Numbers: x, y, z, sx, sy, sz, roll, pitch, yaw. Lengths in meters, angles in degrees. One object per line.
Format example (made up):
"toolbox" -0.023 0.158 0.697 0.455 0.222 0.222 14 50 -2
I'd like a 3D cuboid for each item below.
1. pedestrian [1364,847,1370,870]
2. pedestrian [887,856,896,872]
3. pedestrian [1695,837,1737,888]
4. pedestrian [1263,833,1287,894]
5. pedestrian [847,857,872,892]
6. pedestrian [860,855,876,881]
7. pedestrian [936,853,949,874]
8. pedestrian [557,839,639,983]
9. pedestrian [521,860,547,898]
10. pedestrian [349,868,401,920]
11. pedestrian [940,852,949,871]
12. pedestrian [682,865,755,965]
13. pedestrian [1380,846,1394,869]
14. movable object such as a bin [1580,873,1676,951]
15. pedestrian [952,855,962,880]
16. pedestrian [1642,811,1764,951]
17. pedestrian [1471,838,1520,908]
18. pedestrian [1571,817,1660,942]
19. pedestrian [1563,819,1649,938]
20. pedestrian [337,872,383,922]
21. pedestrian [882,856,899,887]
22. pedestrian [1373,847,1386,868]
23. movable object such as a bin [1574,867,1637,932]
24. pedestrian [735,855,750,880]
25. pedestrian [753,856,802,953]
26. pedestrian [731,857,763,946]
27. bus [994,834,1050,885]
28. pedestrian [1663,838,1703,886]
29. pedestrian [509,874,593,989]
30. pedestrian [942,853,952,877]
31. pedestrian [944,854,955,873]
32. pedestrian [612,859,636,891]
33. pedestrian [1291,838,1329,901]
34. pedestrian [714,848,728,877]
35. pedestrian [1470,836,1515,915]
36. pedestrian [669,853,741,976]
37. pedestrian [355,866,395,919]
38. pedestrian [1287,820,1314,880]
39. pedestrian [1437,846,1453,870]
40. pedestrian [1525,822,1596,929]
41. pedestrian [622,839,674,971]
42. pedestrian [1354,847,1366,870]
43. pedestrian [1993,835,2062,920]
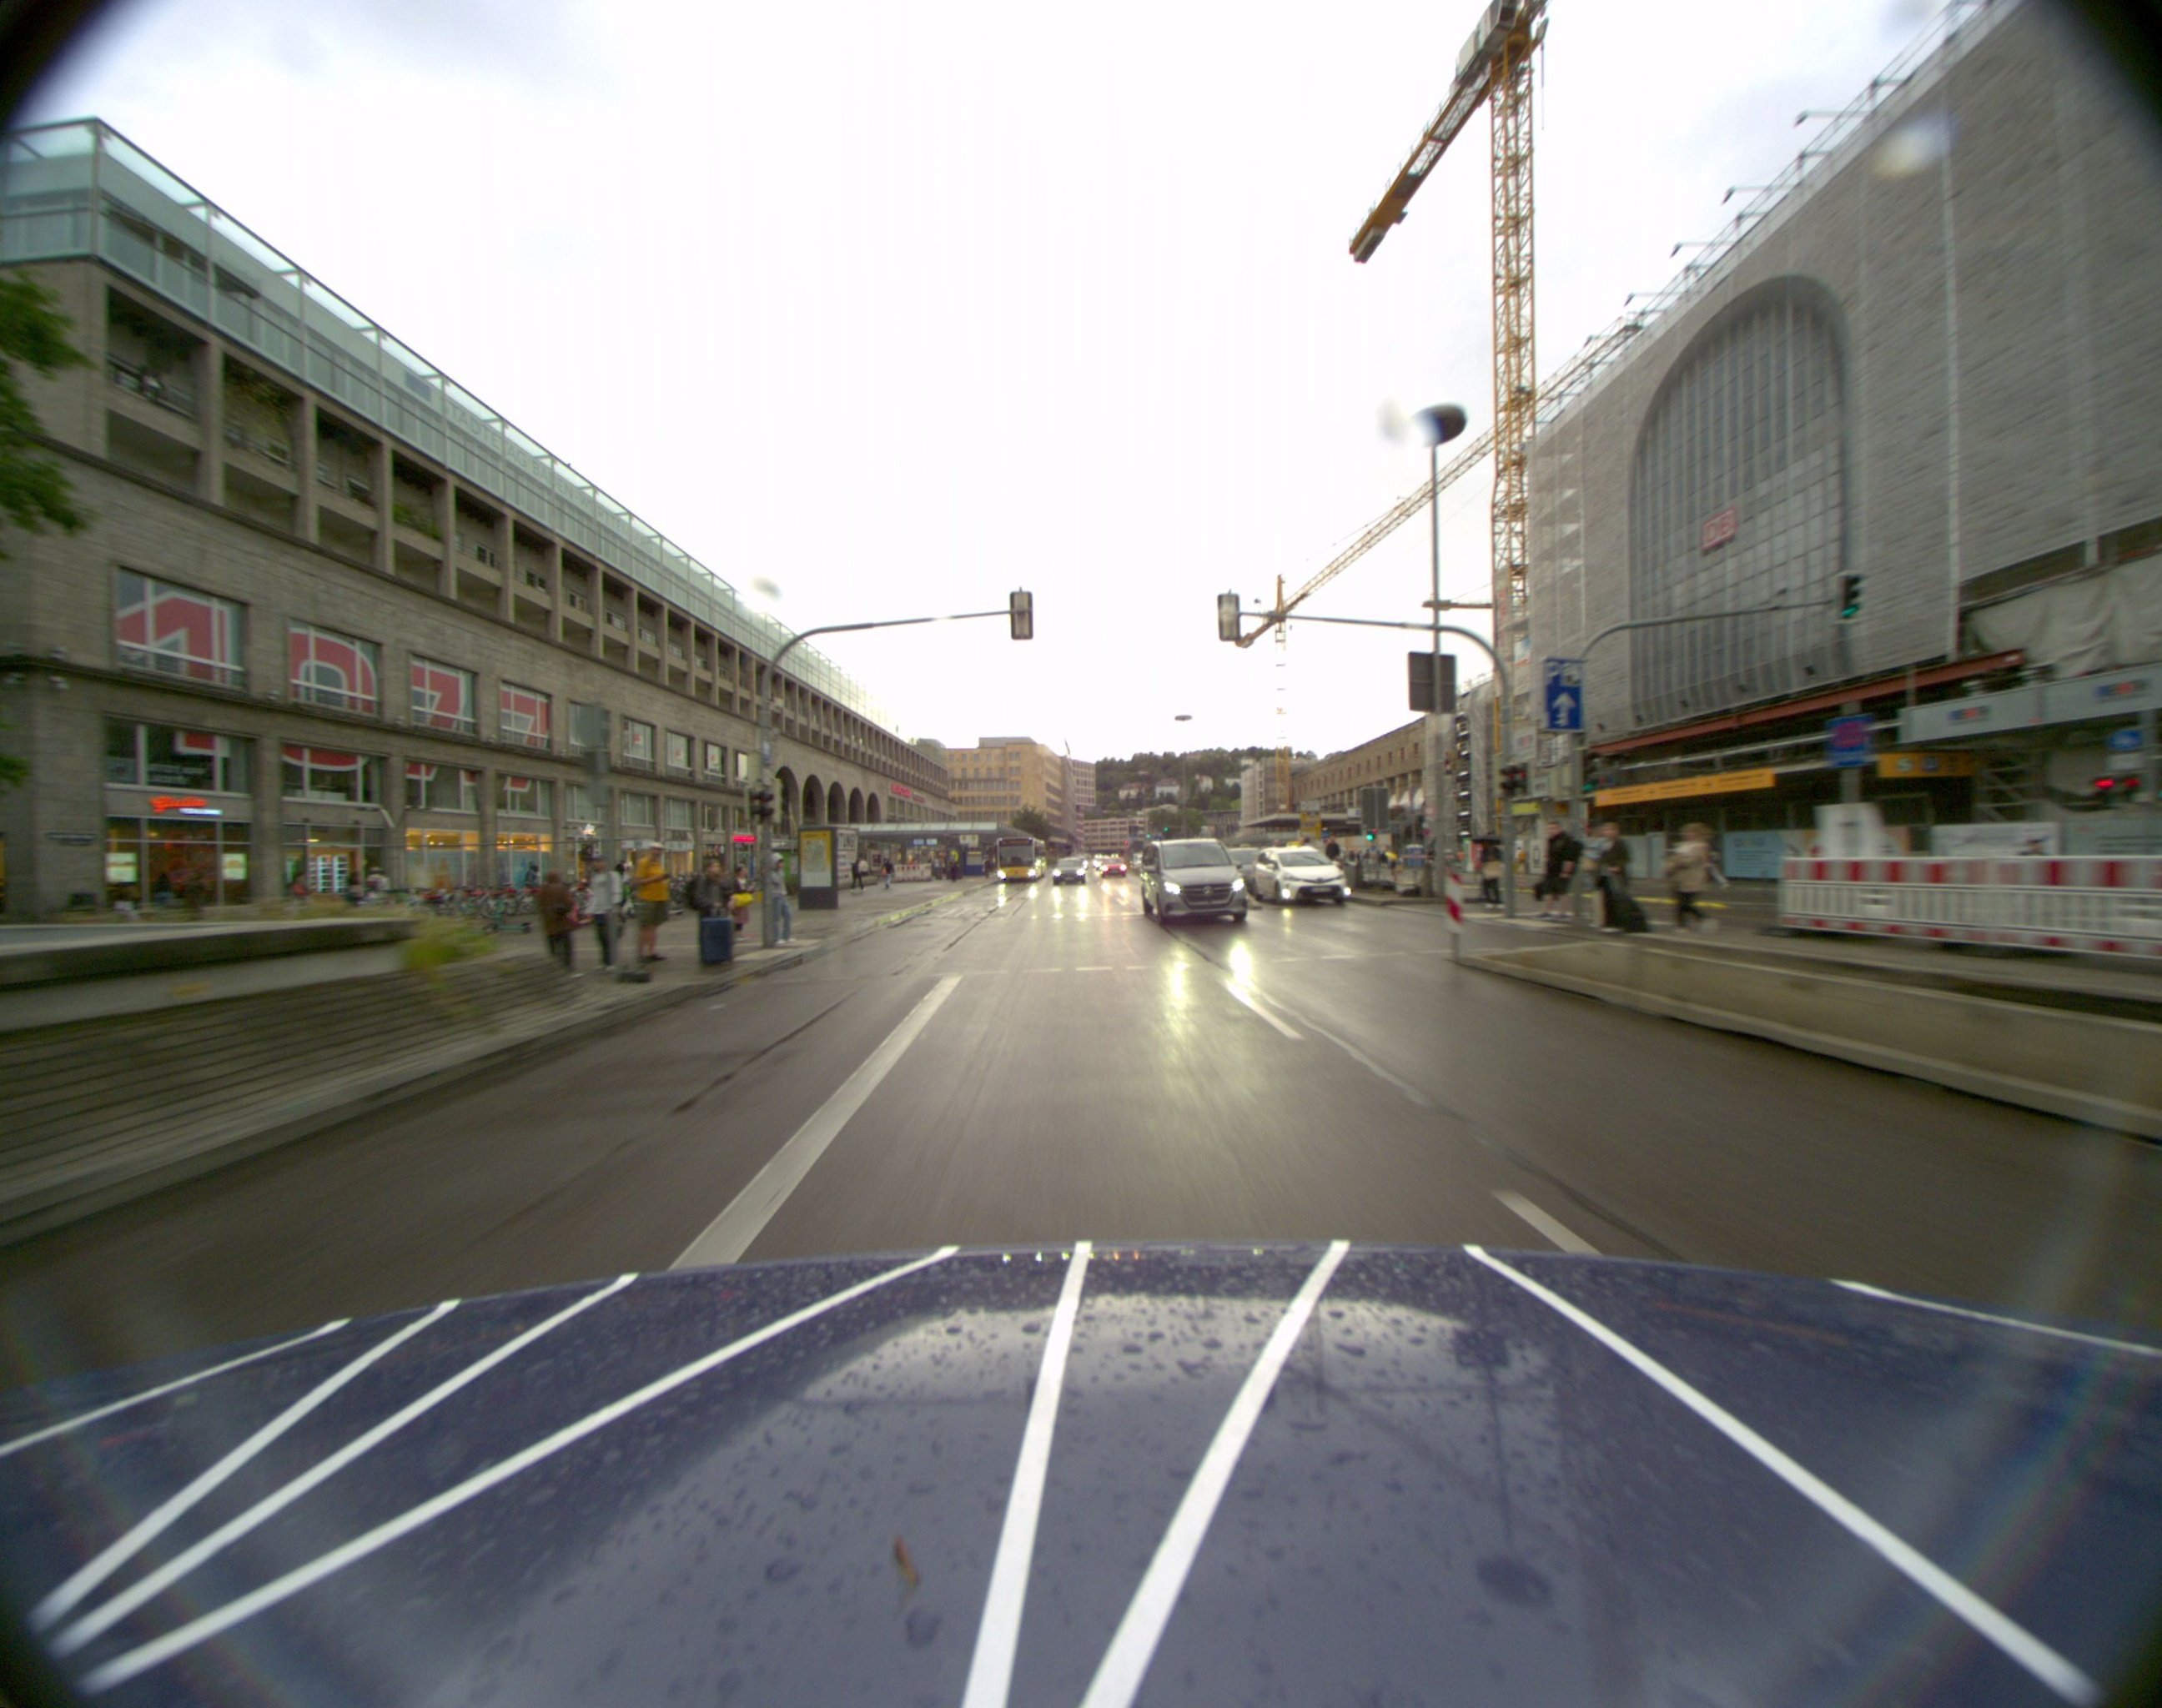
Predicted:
"pedestrian" 22.841 0.363 60.640 0.339 1.830 0.510 -1 1 17
"pedestrian" -19.674 1.040 78.960 0.795 1.609 0.870 -1 1 -10
"pedestrian" 23.244 0.307 27.828 0.728 1.830 0.993 -1 1 0
"pedestrian" 6.508 0.310 25.527 0.529 2.002 0.890 -1 0 -2
"pedestrian" -10.340 0.948 35.547 0.787 1.632 0.790 -1 1 15
"pedestrian" -14.618 0.969 52.060 0.733 1.782 0.757 -1 1 15
"pedestrian" -12.182 0.843 66.848 0.790 1.794 0.990 -1 1 -27
"pedestrian" -7.390 0.849 11.649 0.709 2.133 0.722 -1 1 11
"pedestrian" -24.809 1.127 34.493 0.598 1.679 0.708 -1 1 0
"pedestrian" -23.824 1.338 25.656 0.794 1.665 0.889 -2 1 8
"pedestrian" -13.727 0.763 76.490 0.596 1.863 0.592 -1 1 34
"pedestrian" -6.336 1.042 13.310 0.877 1.681 0.758 -1 1 0
"pedestrian" 25.503 0.276 63.334 0.841 1.830 1.058 -2 1 5
"movable object such as a bin" 8.031 0.830 11.208 1.005 1.070 0.750 -1 1 23
"pedestrian" -8.119 0.854 49.649 0.595 1.609 0.511 -2 1 -10
"pedestrian" 8.808 0.364 10.800 0.837 1.870 1.026 -2 0 -17
"pedestrian" 9.957 0.446 18.286 0.715 1.655 0.836 -1 1 0
"pedestrian" 8.328 0.392 11.871 1.005 1.875 0.684 -1 1 23
"pedestrian" 8.652 0.387 12.564 1.005 1.875 0.818 -1 1 23
"pedestrian" -22.632 1.345 23.853 0.670 1.515 0.783 0 1 16
"pedestrian" -9.910 0.892 39.529 0.652 1.609 0.502 -1 1 15
"pedestrian" 26.171 0.274 66.595 0.804 1.830 0.851 -2 1 5
"movable object such as a bin" 9.015 0.769 13.092 0.743 1.070 0.750 -1 1 23
"pedestrian" -24.824 0.964 55.771 0.733 1.782 0.789 -1 1 0
"pedestrian" -5.845 0.951 14.667 0.748 1.794 0.709 -1 1 -14
"pedestrian" -7.001 0.976 15.910 0.541 1.794 0.756 -1 1 -27
"bus" -4.009 0.292 53.777 3.121 3.186 9.240 -2 1 0
"pedestrian" 23.574 0.321 29.772 0.820 1.830 0.937 -1 1 0
"pedestrian" -7.528 1.082 10.809 0.657 1.546 0.635 -2 1 14
"pedestrian" -10.728 0.867 60.861 0.795 1.918 0.705 -1 1 -10
"pedestrian" -12.160 0.848 70.116 0.750 1.685 0.902 -2 1 4
"pedestrian" -24.902 1.140 41.393 0.723 1.686 0.776 -2 1 0
"pedestrian" 7.476 0.489 24.797 0.834 2.002 1.030 -1 1 38
"pedestrian" -23.972 0.547 50.596 0.790 1.918 0.653 -1 1 -24
"pedestrian" 9.198 0.467 17.005 0.584 1.725 0.756 -1 1 0
"pedestrian" -5.886 0.902 11.943 0.789 1.828 0.949 -1 1 -14
"pedestrian" -21.983 1.186 23.663 0.645 1.592 0.616 1 2 15
"pedestrian" 7.470 -0.131 25.864 0.623 2.002 0.836 -1 0 0
"pedestrian" 24.720 0.256 51.646 0.678 1.604 0.839 -2 1 3
"pedestrian" 8.696 0.371 13.793 0.833 1.875 0.691 -1 1 -9
"pedestrian" -7.225 0.833 12.699 0.556 2.133 0.667 -1 1 -14
"pedestrian" 22.539 0.359 61.352 0.702 1.830 0.879 -1 1 30
"pedestrian" 20.907 0.515 16.793 0.775 1.830 0.640 -1 1 -6
